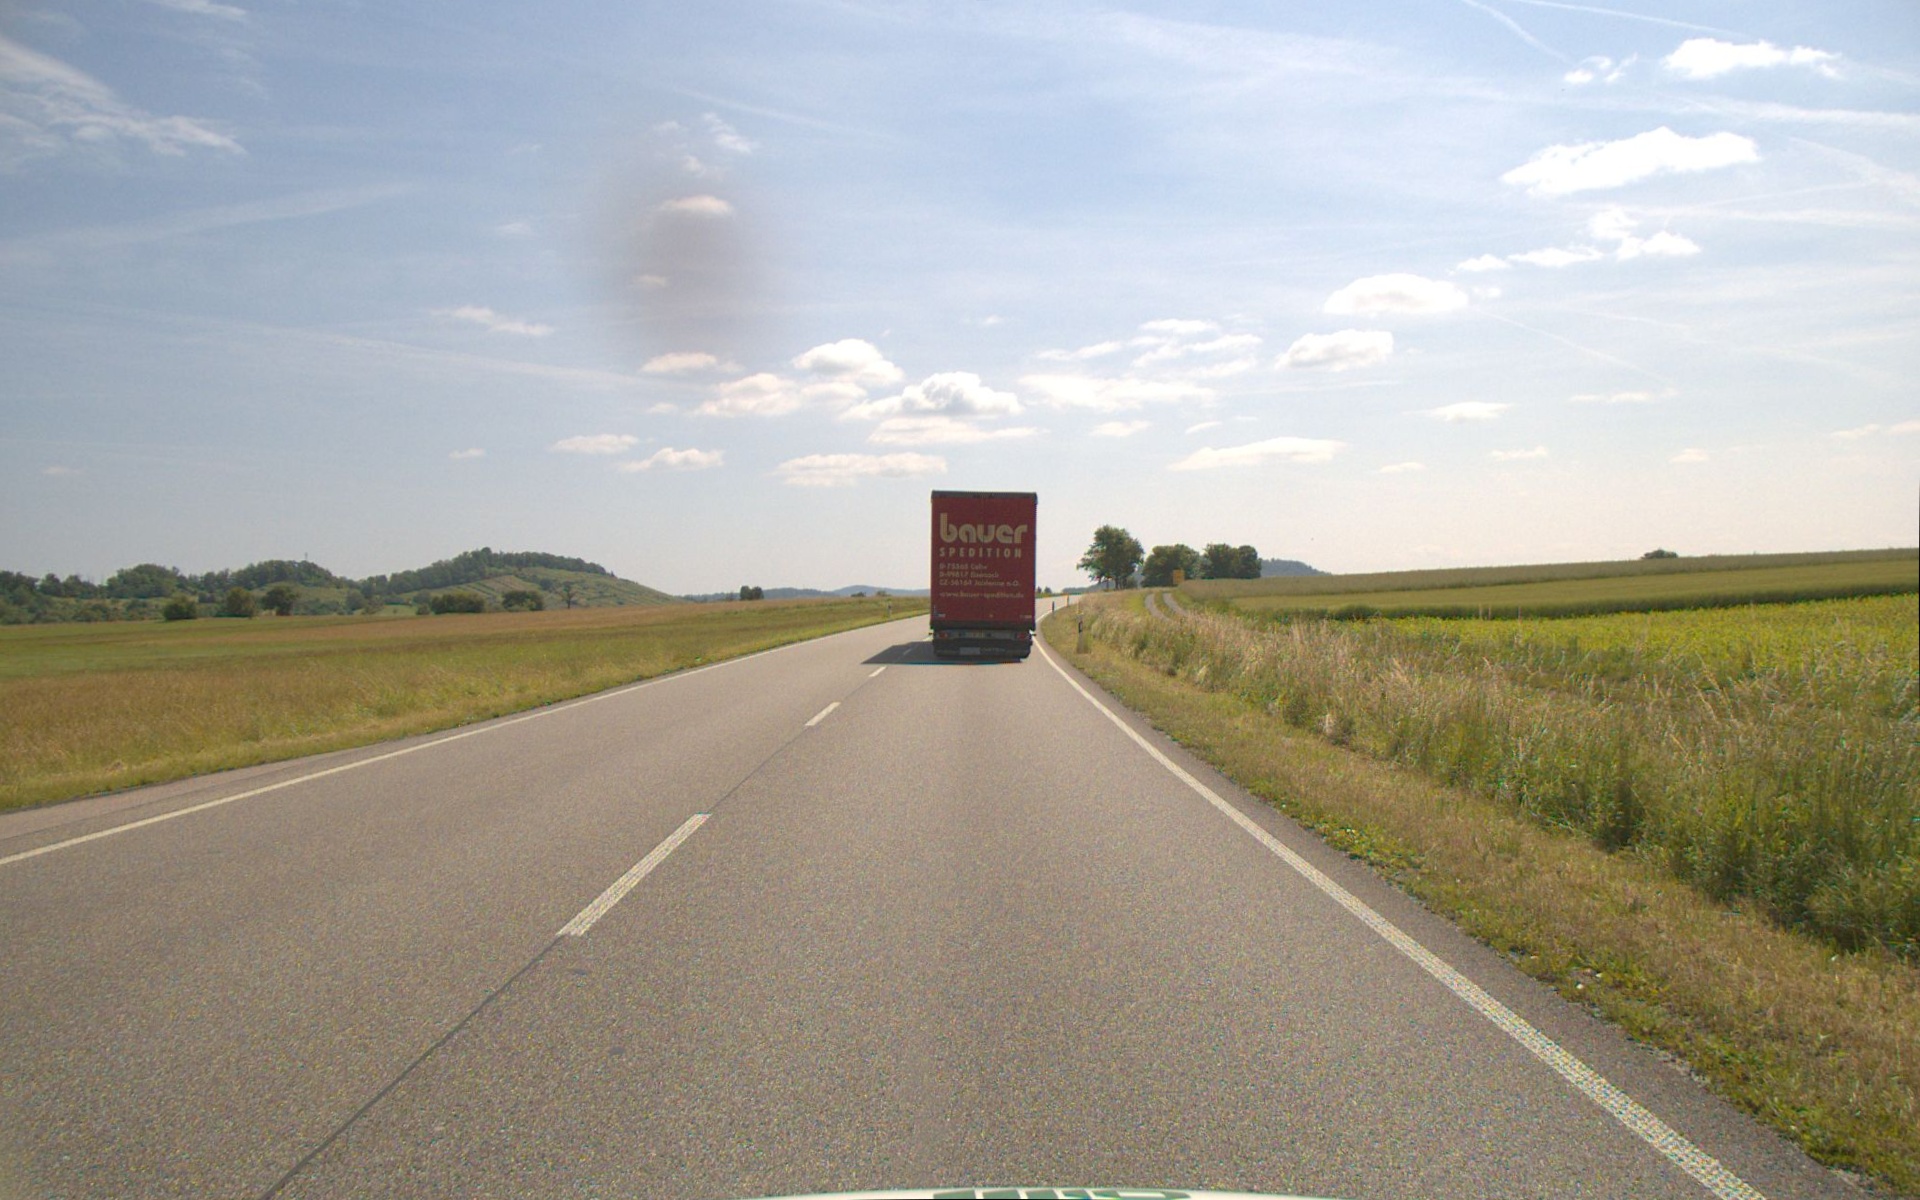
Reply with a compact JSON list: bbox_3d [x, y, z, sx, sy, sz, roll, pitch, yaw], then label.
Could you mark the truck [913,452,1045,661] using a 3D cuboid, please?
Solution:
[{"bbox_3d":[0.447,-1.023,43.402,2.914,4.795,9.365,2,0,0],"label":"truck"}]
